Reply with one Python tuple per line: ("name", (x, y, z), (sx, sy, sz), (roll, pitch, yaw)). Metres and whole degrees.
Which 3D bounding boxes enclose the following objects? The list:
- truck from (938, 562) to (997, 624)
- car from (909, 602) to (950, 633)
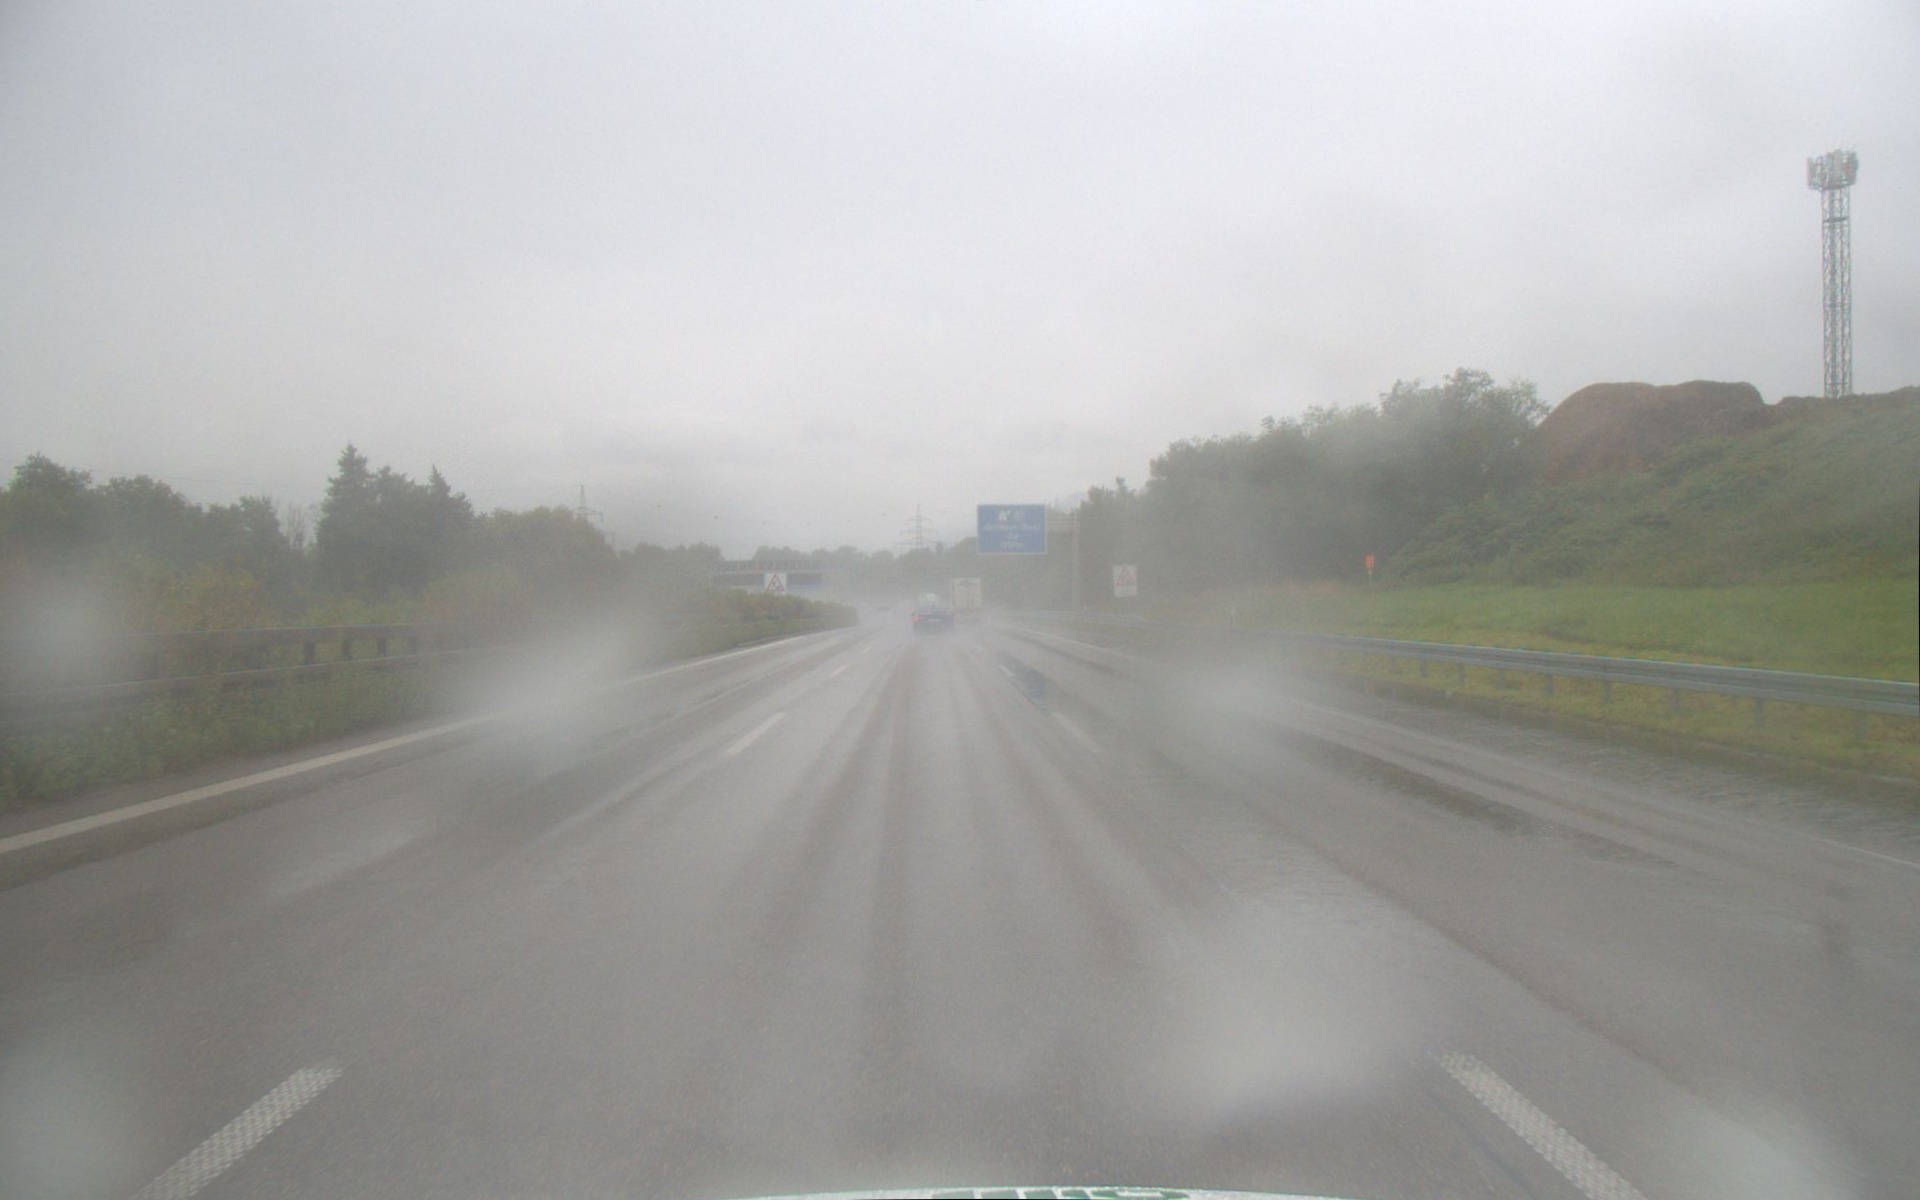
("truck", (0.539, -0.669, 149.712), (4.172, 5.058, 17.331), (-3, 0, -3))
("car", (-1.325, 0.773, 70.425), (1.713, 1.234, 3.998), (0, -2, -2))
